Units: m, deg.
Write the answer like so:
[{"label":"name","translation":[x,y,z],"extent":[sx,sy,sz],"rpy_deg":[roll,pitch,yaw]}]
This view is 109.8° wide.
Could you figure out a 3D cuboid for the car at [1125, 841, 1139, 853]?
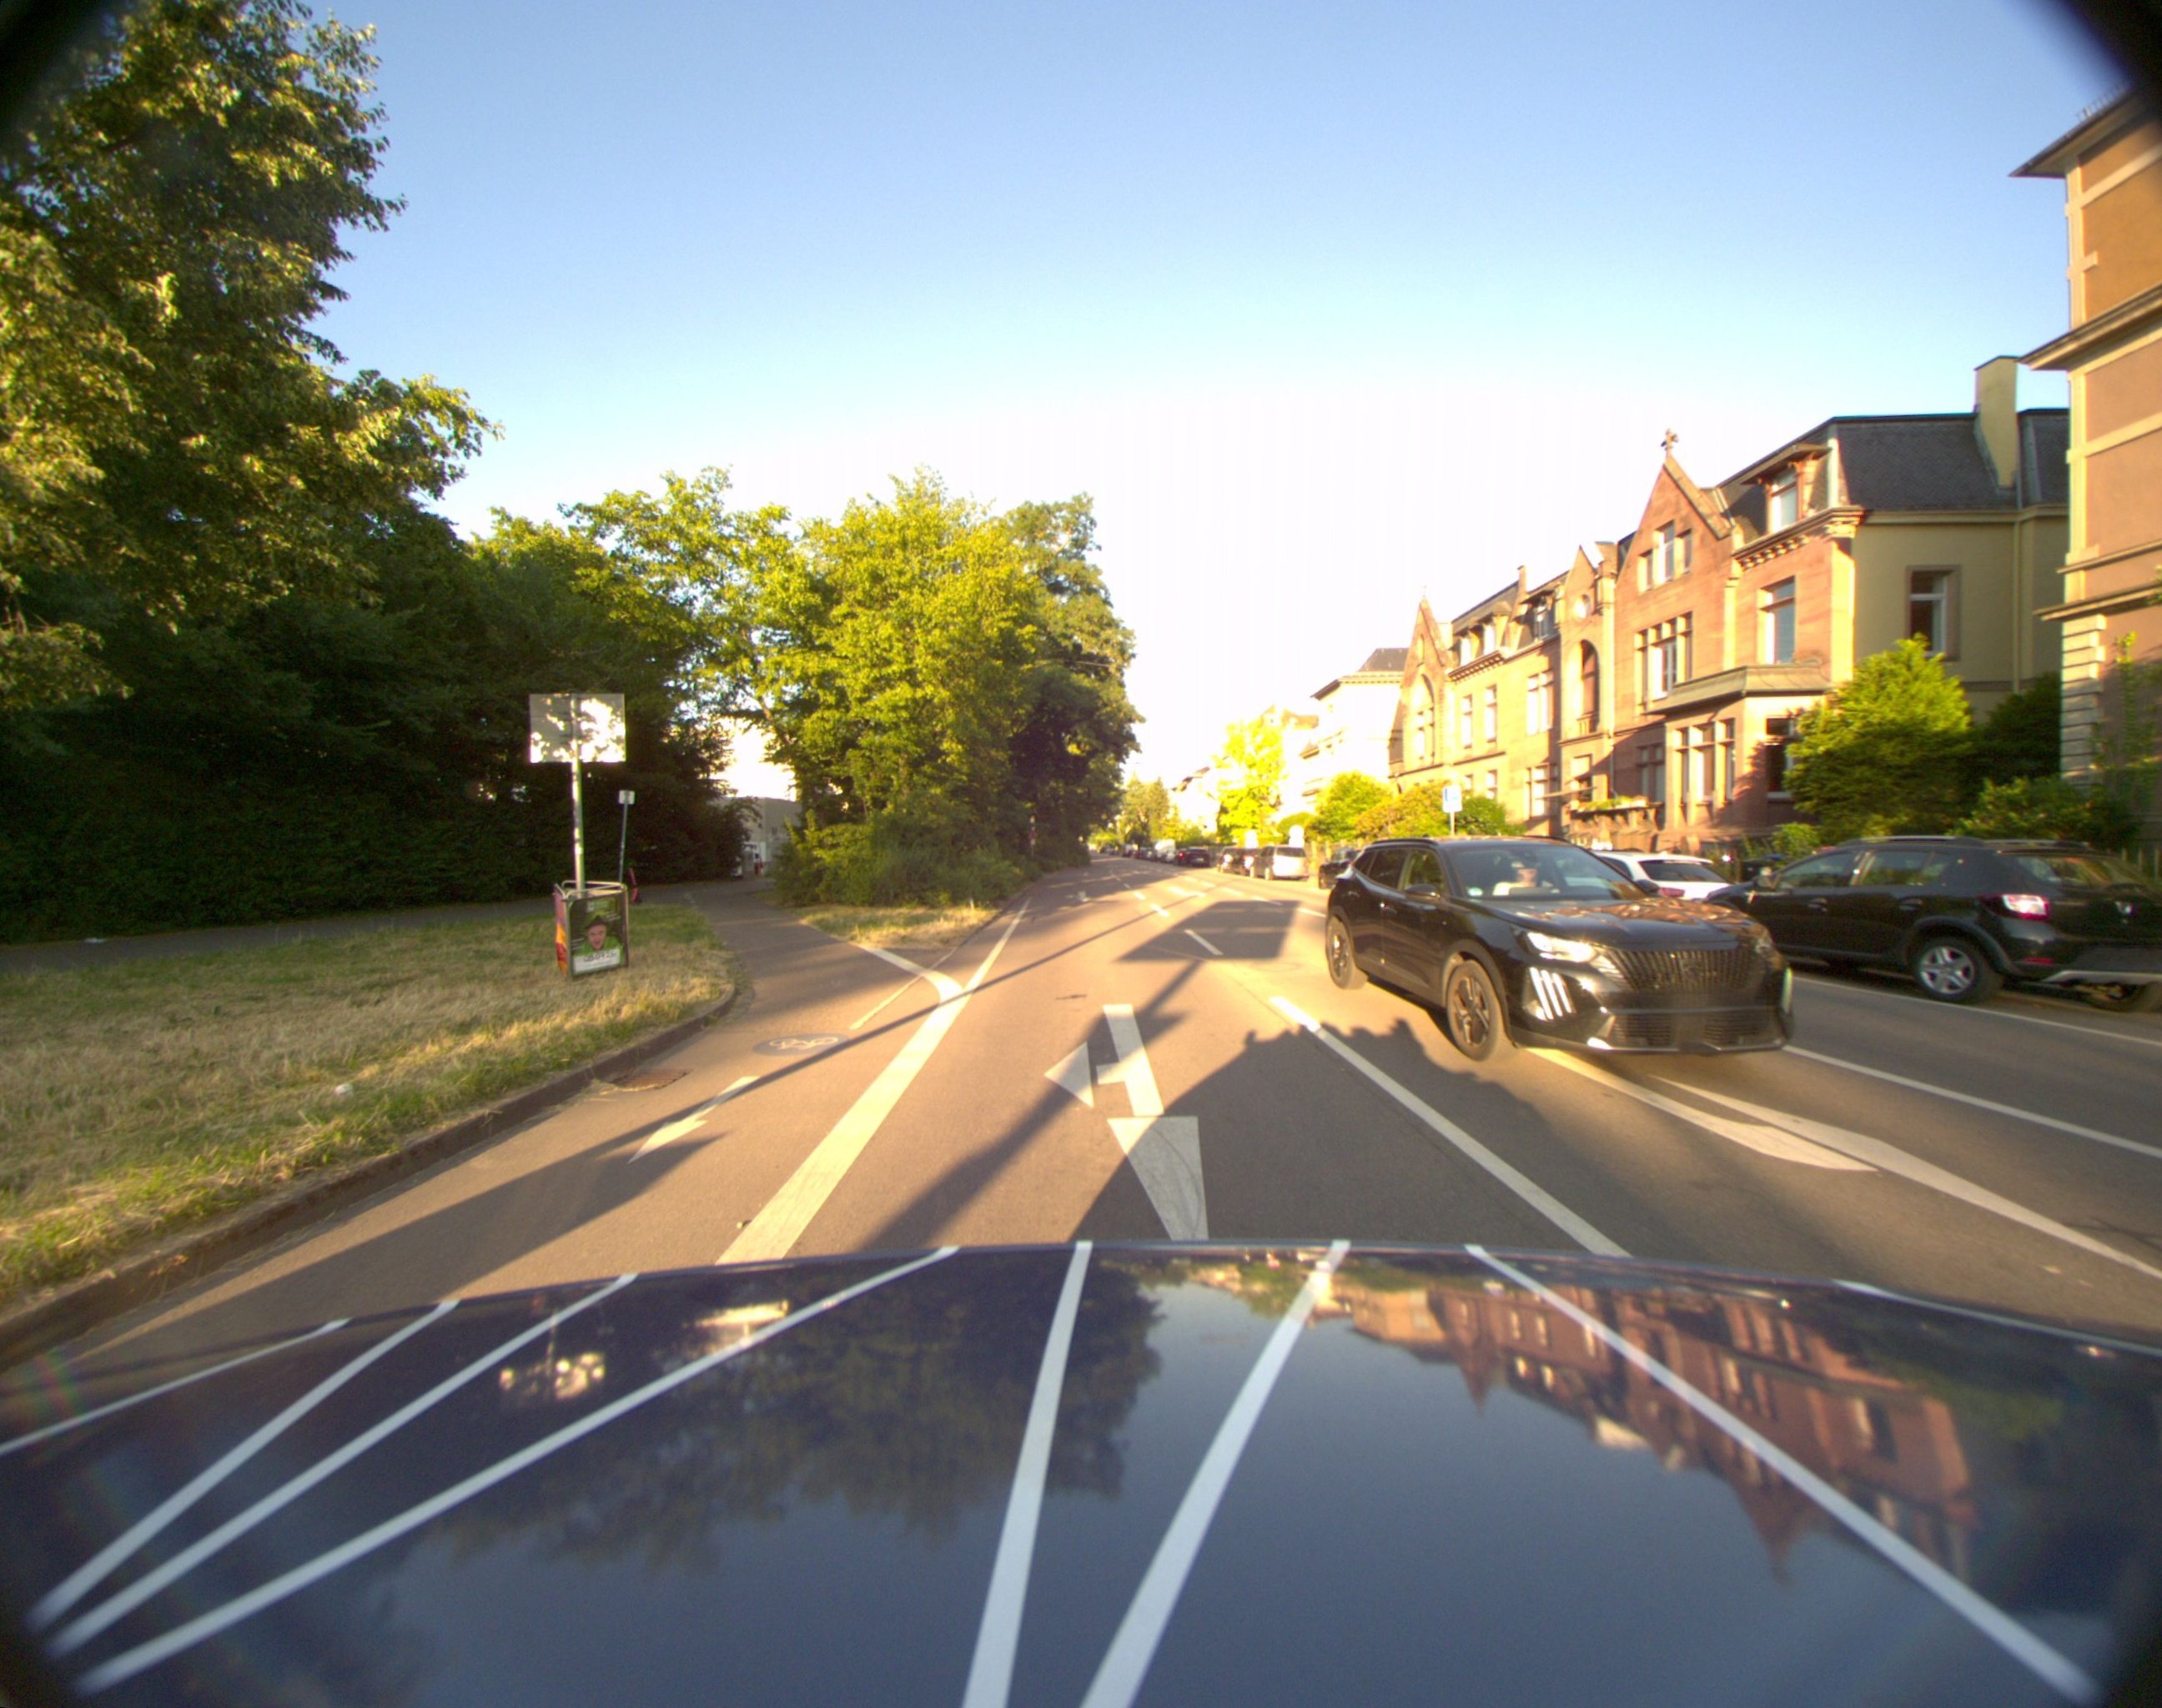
[{"label":"car","translation":[8.970,-1.232,133.282],"extent":[2.203,2.201,4.527],"rpy_deg":[0,1,0]}]

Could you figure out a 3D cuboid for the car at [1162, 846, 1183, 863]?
[{"label":"car","translation":[9.109,0.030,76.090],"extent":[1.715,1.596,3.853],"rpy_deg":[0,1,1]}]

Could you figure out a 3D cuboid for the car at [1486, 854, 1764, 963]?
[{"label":"car","translation":[8.832,0.768,12.915],"extent":[1.608,1.435,4.432],"rpy_deg":[2,1,2]}]

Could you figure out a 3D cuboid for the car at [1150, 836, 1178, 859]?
[{"label":"car","translation":[9.014,-0.736,82.955],"extent":[2.231,2.355,5.878],"rpy_deg":[0,1,-1]}]

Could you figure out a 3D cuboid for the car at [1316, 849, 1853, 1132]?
[{"label":"car","translation":[3.385,0.737,6.170],"extent":[1.682,1.527,3.999],"rpy_deg":[-1,1,0]}]

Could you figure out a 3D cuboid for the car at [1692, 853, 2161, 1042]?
[{"label":"car","translation":[8.995,0.802,8.314],"extent":[1.631,1.526,3.723],"rpy_deg":[2,1,2]}]

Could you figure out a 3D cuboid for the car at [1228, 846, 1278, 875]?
[{"label":"car","translation":[8.928,0.298,39.739],"extent":[1.716,1.442,3.722],"rpy_deg":[0,1,-1]}]

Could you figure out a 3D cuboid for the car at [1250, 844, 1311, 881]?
[{"label":"car","translation":[9.049,0.336,34.697],"extent":[1.716,1.579,3.752],"rpy_deg":[0,1,-1]}]

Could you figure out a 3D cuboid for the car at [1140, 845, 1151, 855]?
[{"label":"car","translation":[8.884,-0.580,105.243],"extent":[1.327,1.430,2.697],"rpy_deg":[0,1,0]}]

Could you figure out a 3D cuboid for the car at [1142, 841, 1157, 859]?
[{"label":"car","translation":[8.505,-0.546,95.167],"extent":[1.571,2.253,3.799],"rpy_deg":[0,1,0]}]

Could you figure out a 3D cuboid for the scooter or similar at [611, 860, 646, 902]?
[{"label":"scooter or similar","translation":[-11.892,0.703,19.980],"extent":[0.194,1.079,0.837],"rpy_deg":[-2,0,15]}]

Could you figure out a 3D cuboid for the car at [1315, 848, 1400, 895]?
[{"label":"car","translation":[9.133,0.526,25.368],"extent":[1.631,1.437,3.566],"rpy_deg":[0,1,2]}]

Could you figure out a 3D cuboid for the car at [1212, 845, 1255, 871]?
[{"label":"car","translation":[8.882,0.195,44.478],"extent":[1.716,1.442,3.722],"rpy_deg":[0,1,-1]}]

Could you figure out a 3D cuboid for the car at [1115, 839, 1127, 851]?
[{"label":"car","translation":[8.297,-1.851,158.197],"extent":[1.999,2.443,5.578],"rpy_deg":[-1,1,-1]}]

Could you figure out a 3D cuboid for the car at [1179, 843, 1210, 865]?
[{"label":"car","translation":[8.758,-0.006,58.712],"extent":[1.880,1.596,3.722],"rpy_deg":[0,1,1]}]

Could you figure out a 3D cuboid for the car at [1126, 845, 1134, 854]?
[{"label":"car","translation":[8.296,-0.778,128.014],"extent":[1.220,1.430,2.514],"rpy_deg":[0,1,0]}]

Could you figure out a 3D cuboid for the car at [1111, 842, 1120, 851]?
[{"label":"car","translation":[7.932,-1.722,175.625],"extent":[1.998,2.002,3.999],"rpy_deg":[-2,1,1]}]

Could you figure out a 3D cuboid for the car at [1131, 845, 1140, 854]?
[{"label":"car","translation":[8.444,-0.726,117.746],"extent":[1.220,1.430,2.514],"rpy_deg":[0,1,0]}]
